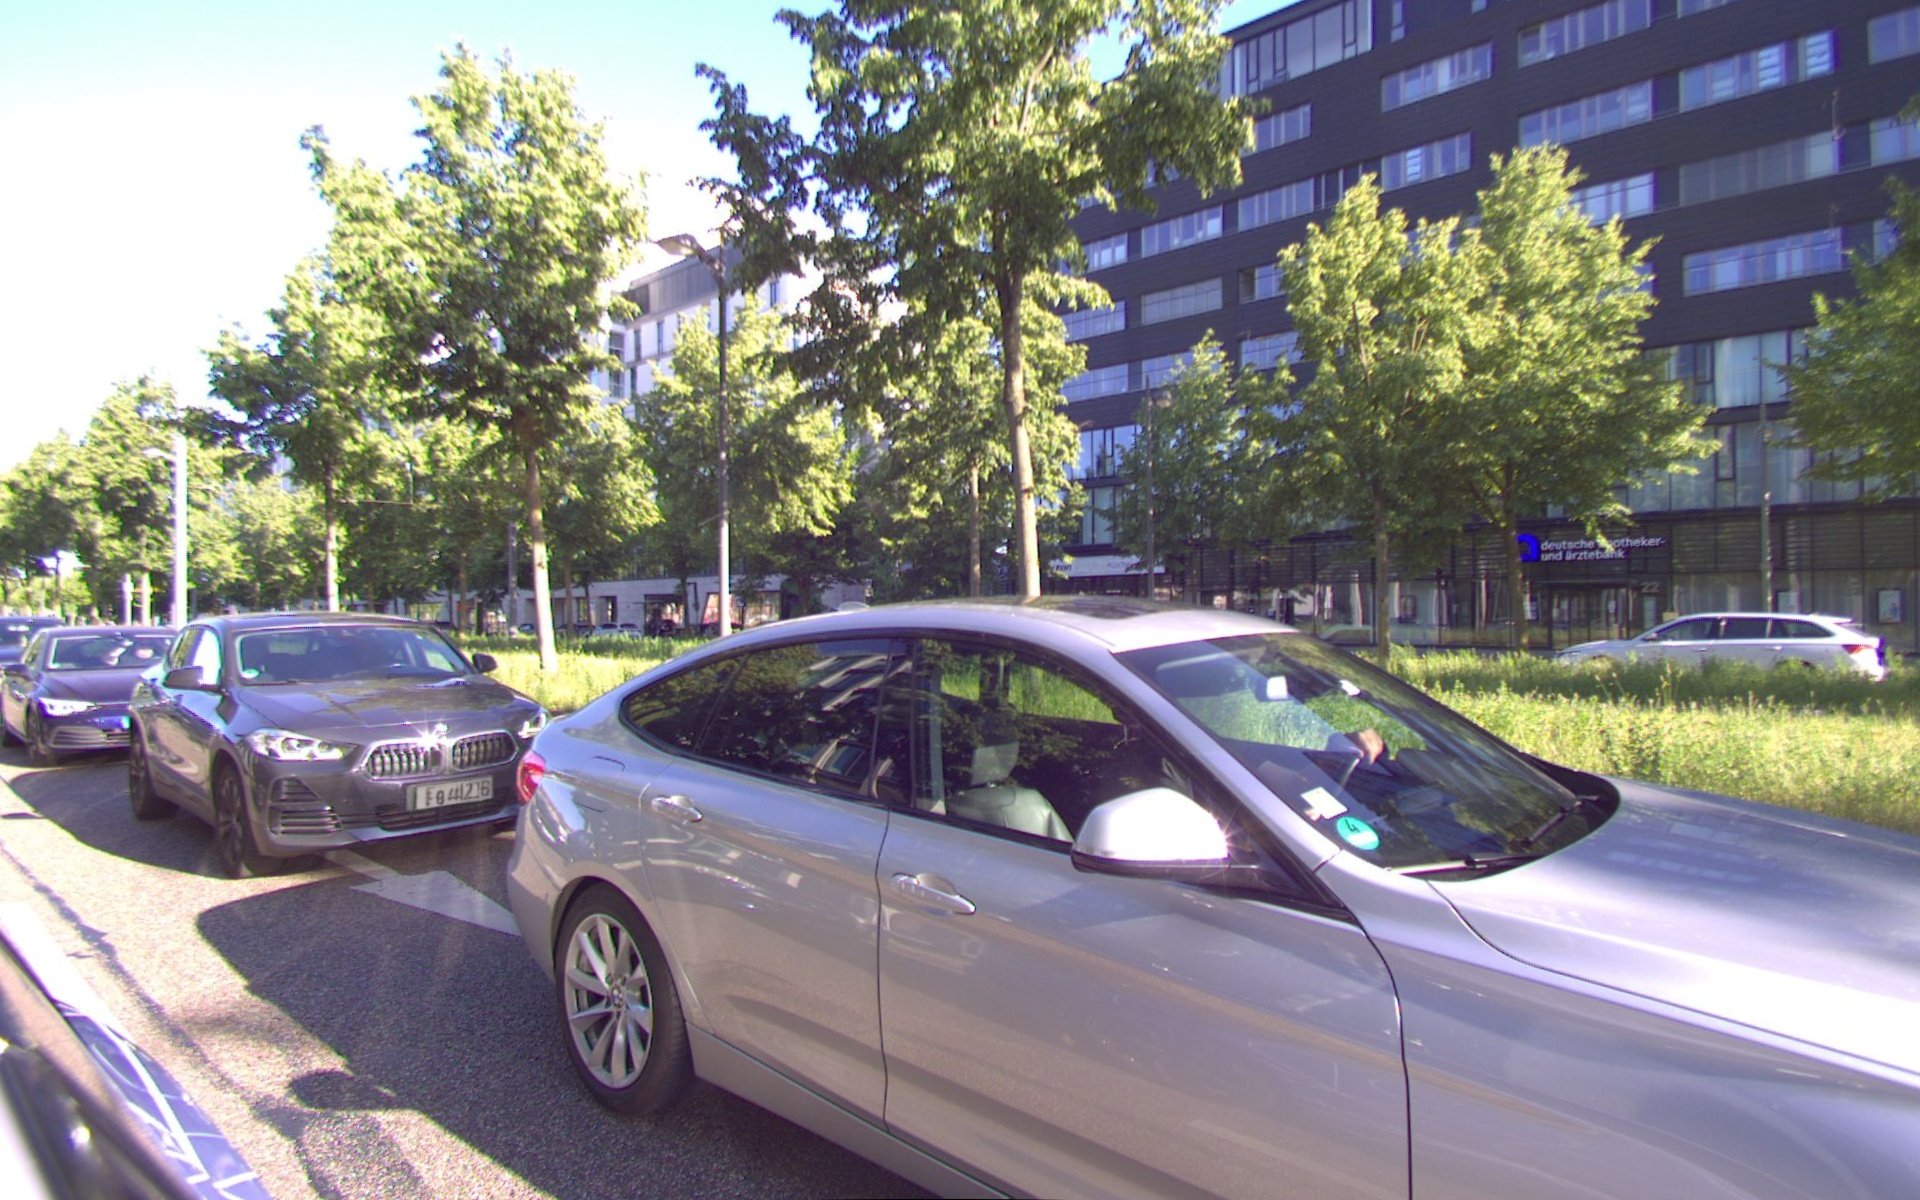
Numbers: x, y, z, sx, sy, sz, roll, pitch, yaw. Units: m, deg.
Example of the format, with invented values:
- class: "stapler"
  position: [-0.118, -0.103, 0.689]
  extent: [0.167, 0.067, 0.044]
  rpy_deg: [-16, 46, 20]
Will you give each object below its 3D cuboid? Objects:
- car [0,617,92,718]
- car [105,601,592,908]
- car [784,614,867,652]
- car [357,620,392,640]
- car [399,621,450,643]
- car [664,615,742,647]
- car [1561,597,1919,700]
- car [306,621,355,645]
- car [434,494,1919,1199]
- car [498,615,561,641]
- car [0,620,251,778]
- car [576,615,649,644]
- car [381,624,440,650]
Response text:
- class: "car"
  position: [-16.687, 1.127, 17.706]
  extent: [4.164, 1.602, 1.788]
  rpy_deg: [-1, -1, 42]
- class: "car"
  position: [-4.432, 0.813, 7.081]
  extent: [4.027, 1.534, 1.789]
  rpy_deg: [-1, -1, 41]
- class: "car"
  position: [-6.615, 1.588, 49.469]
  extent: [3.998, 1.762, 1.834]
  rpy_deg: [-1, -1, 41]
- class: "car"
  position: [-51.011, 2.639, 88.152]
  extent: [3.741, 1.682, 1.581]
  rpy_deg: [-1, -1, 41]
- class: "car"
  position: [-42.969, 2.575, 81.198]
  extent: [4.788, 1.711, 1.986]
  rpy_deg: [-1, -1, 40]
- class: "car"
  position: [-14.326, 1.722, 56.329]
  extent: [4.790, 1.697, 1.834]
  rpy_deg: [-1, -1, 41]
- class: "car"
  position: [13.278, 0.773, 17.483]
  extent: [4.733, 1.549, 1.834]
  rpy_deg: [-1, -1, 41]
- class: "car"
  position: [-47.787, 2.466, 76.804]
  extent: [4.790, 1.742, 1.834]
  rpy_deg: [-1, -1, 41]
- class: "car"
  position: [0.515, 0.666, 2.736]
  extent: [4.739, 1.500, 1.790]
  rpy_deg: [-1, -1, 40]
- class: "car"
  position: [-29.717, 1.927, 69.805]
  extent: [4.785, 1.711, 1.988]
  rpy_deg: [-1, -1, 38]
- class: "car"
  position: [-9.785, 0.981, 11.625]
  extent: [4.253, 1.465, 1.789]
  rpy_deg: [-1, -1, 42]
- class: "car"
  position: [-21.745, 1.816, 63.231]
  extent: [4.785, 1.711, 1.988]
  rpy_deg: [-1, -1, 38]
- class: "car"
  position: [-31.072, 2.079, 57.182]
  extent: [3.998, 1.403, 1.644]
  rpy_deg: [-1, -1, 41]
